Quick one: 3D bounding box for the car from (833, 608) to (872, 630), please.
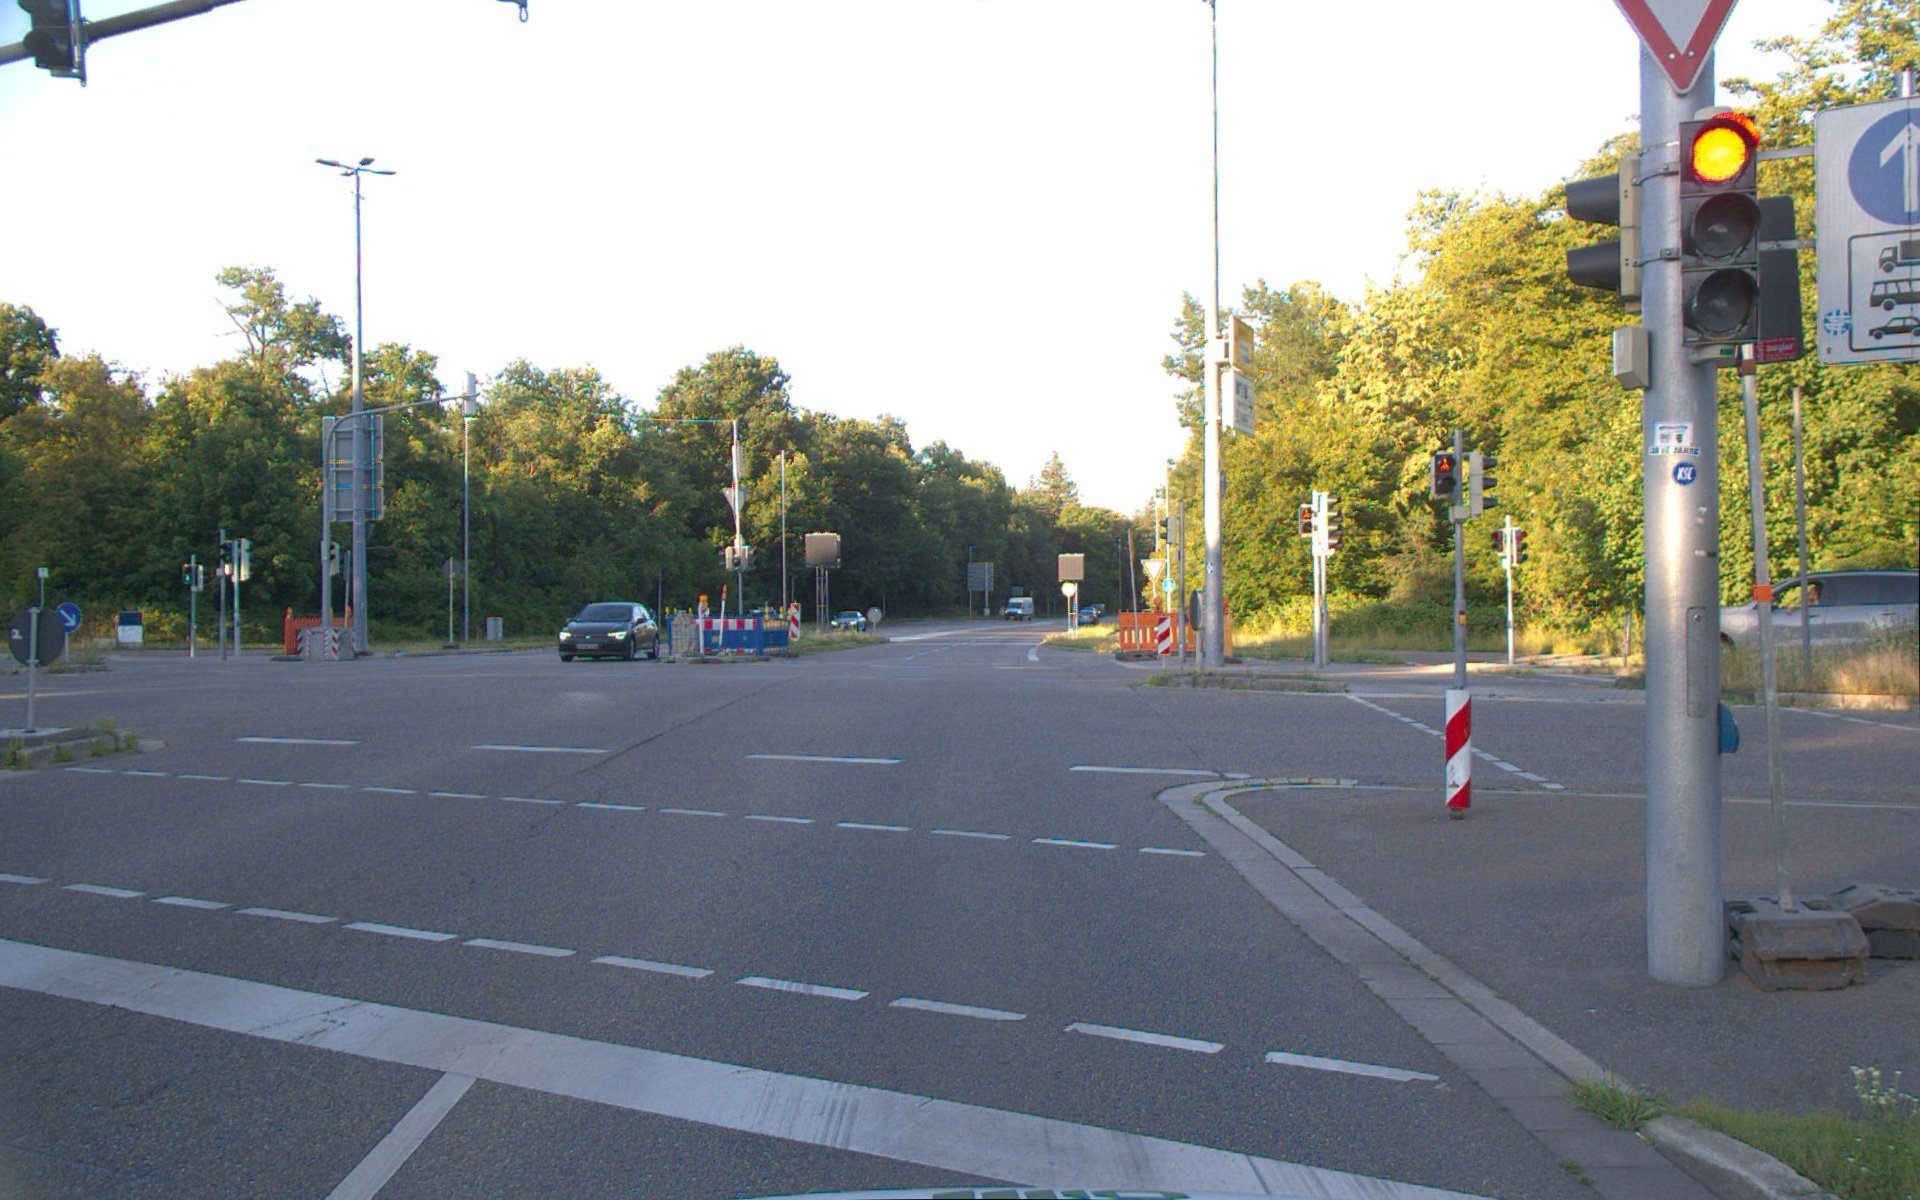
[{"bbox_3d":[-7.469,1.283,114.842,1.951,1.445,4.003,0,0,7],"label":"car"}]

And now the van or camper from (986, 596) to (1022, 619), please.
[{"bbox_3d":[5.217,0.833,194.583,2.824,2.699,7.127,0,0,14],"label":"van or camper"}]

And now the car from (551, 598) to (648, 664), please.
[{"bbox_3d":[-8.972,0.729,41.481,1.956,1.556,4.670,0,0,-7],"label":"car"}]

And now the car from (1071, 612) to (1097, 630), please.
[{"bbox_3d":[11.918,1.974,158.476,1.951,1.646,4.003,0,0,13],"label":"car"}]

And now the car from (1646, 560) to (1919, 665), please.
[{"bbox_3d":[13.745,0.202,26.872,4.716,1.626,2.000,-1,0,21],"label":"car"}]

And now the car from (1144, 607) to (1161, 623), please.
[{"bbox_3d":[25.343,1.990,217.195,1.750,2.049,4.003,-1,0,13],"label":"car"}]
